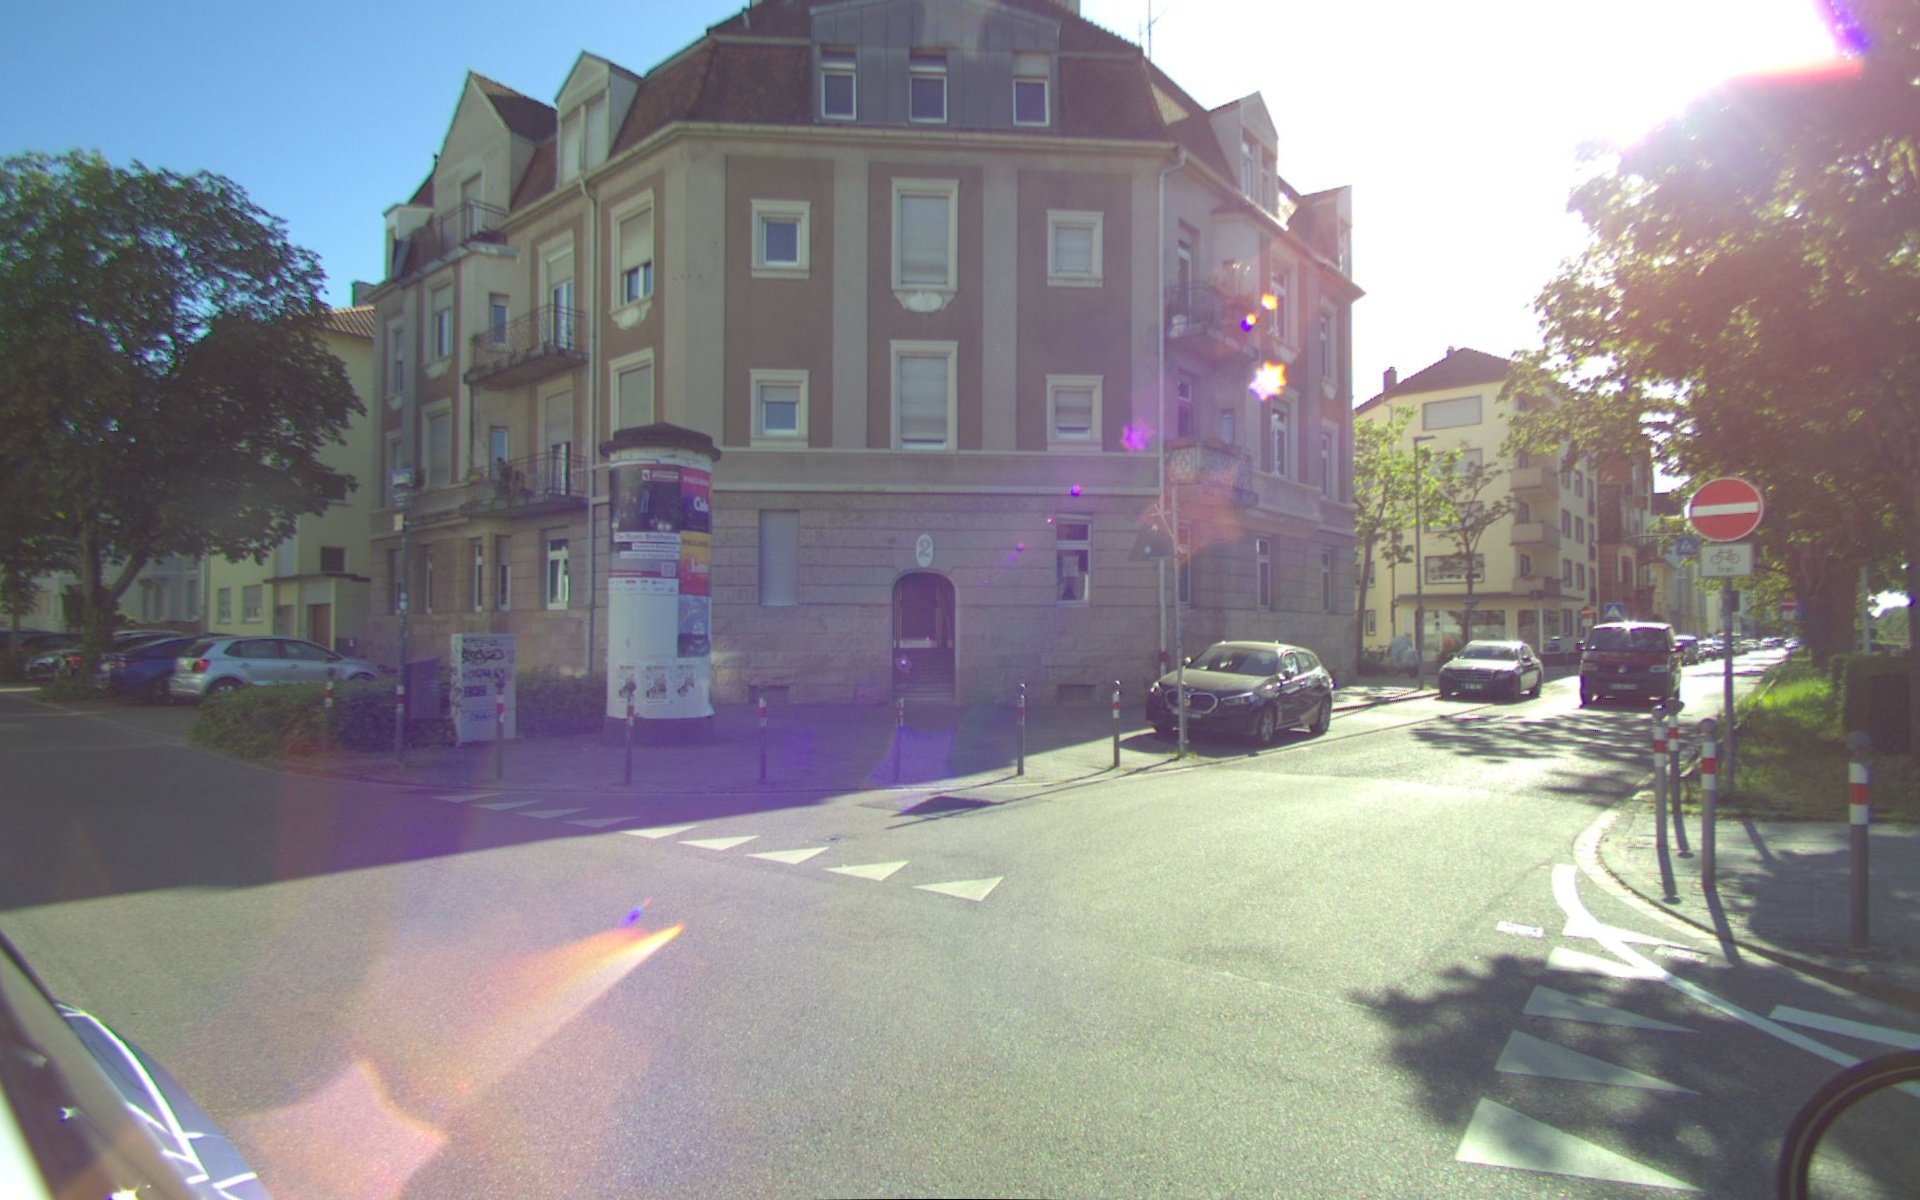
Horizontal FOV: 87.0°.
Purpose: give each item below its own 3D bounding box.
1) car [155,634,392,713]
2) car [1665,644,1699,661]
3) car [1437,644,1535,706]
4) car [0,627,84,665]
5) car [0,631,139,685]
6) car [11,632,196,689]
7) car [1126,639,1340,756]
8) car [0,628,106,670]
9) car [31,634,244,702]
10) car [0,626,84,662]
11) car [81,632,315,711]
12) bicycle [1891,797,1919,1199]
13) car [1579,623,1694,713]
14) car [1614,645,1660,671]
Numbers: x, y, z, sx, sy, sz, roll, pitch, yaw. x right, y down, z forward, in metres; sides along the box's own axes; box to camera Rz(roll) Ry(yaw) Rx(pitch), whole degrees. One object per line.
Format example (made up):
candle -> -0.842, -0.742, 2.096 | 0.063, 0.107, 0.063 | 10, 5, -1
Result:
car -> -14.163, 1.451, 21.047 | 1.689, 1.456, 3.743 | -2, -2, 37
car -> 49.776, 3.622, 69.760 | 1.679, 1.141, 3.700 | -2, -3, 38
car -> 14.124, 1.939, 27.066 | 1.679, 1.426, 3.855 | 2, -1, 37
car -> -39.079, 1.910, 42.230 | 1.688, 1.506, 3.489 | -2, -2, 35
car -> -27.579, 1.714, 30.749 | 1.684, 1.506, 3.757 | -1, -2, 27
car -> -24.794, 1.708, 29.430 | 1.684, 1.506, 3.757 | -1, -2, 27
car -> 4.389, 1.412, 15.869 | 1.865, 1.495, 3.964 | 2, -1, 37
car -> -35.702, 1.872, 39.178 | 1.688, 1.506, 3.746 | -2, -2, 35
car -> -20.302, 1.621, 25.142 | 1.684, 1.506, 3.757 | -1, -2, 27
car -> -40.879, 1.927, 44.357 | 1.688, 1.506, 3.489 | -2, -2, 35
car -> -16.333, 1.462, 21.845 | 1.689, 1.506, 3.743 | -2, -2, 37
bicycle -> 2.609, 0.953, 1.273 | 2.064, 1.117, 0.636 | -2, -3, 42
car -> 16.881, 1.617, 25.160 | 1.895, 1.975, 4.821 | 0, -2, 40
car -> 34.664, 2.926, 51.786 | 1.679, 1.271, 3.751 | -2, -3, 38
